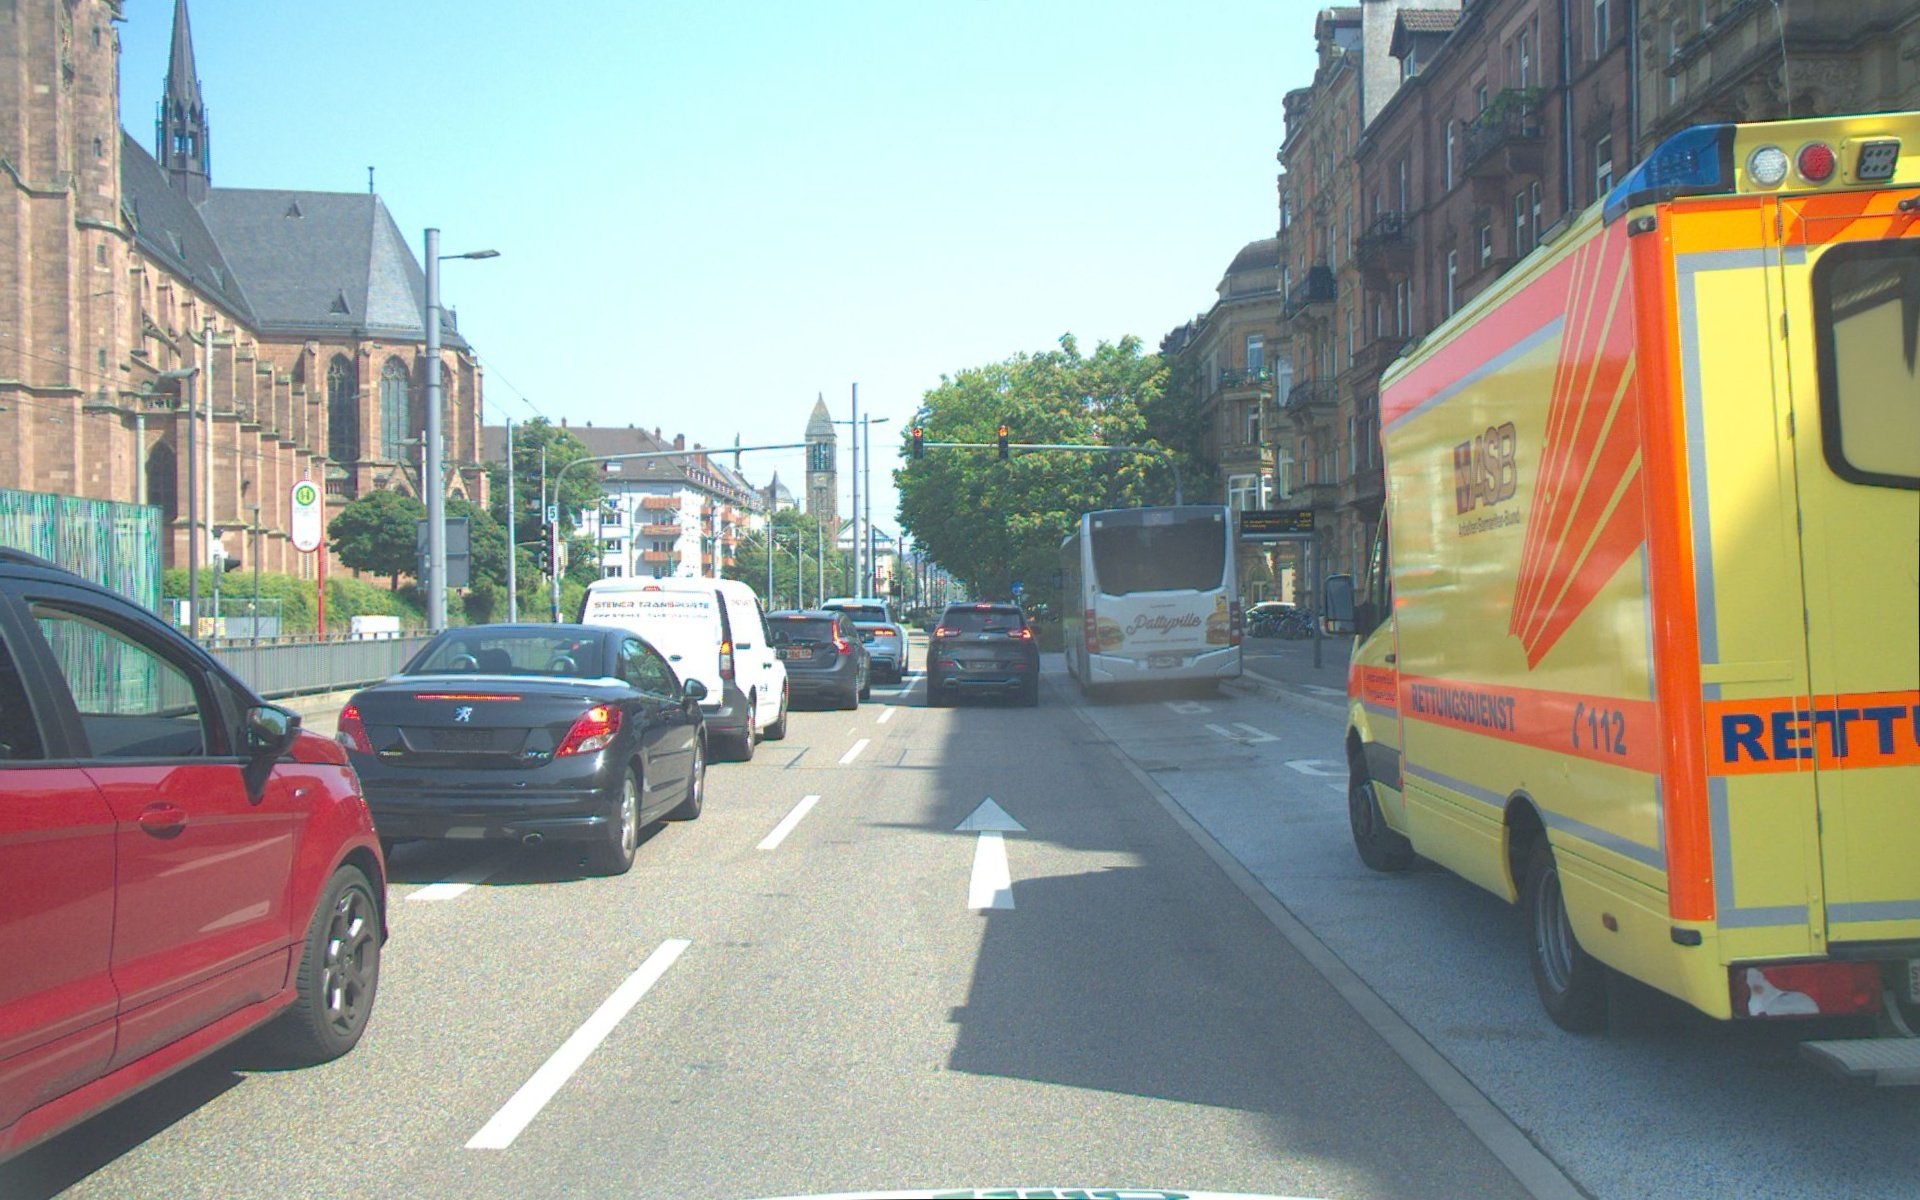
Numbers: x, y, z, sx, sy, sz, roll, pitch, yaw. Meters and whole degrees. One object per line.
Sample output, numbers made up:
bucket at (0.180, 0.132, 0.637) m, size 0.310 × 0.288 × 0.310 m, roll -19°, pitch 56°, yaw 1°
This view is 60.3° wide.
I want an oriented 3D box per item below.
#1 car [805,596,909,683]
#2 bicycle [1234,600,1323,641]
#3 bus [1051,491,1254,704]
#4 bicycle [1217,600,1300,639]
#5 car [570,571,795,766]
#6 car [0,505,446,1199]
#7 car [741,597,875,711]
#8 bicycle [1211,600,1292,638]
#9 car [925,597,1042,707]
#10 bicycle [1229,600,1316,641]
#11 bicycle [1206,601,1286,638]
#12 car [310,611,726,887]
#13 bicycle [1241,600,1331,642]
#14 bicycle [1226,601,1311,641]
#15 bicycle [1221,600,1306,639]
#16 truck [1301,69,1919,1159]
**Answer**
car at (-2.067, 0.756, 34.161) m, size 1.863 × 1.680 × 4.308 m, roll 0°, pitch 0°, yaw 0°
bicycle at (11.271, 0.726, 58.583) m, size 2.932 × 1.395 × 0.871 m, roll -1°, pitch 0°, yaw -1°
bus at (3.332, -0.005, 31.812) m, size 2.687 × 3.161 × 11.957 m, roll -3°, pitch 0°, yaw 2°
bicycle at (11.261, 0.732, 62.482) m, size 2.942 × 1.397 × 0.947 m, roll -1°, pitch 0°, yaw -1°
car at (-2.859, 0.663, 17.906) m, size 1.711 × 1.852 × 4.239 m, roll 0°, pitch 0°, yaw 0°
car at (-2.758, 0.627, 4.173) m, size 1.596 × 1.649 × 3.968 m, roll 0°, pitch 0°, yaw 1°
car at (-2.332, 0.791, 26.278) m, size 1.711 × 1.643 × 4.308 m, roll 0°, pitch 0°, yaw 0°
bicycle at (11.175, 0.725, 63.492) m, size 2.942 × 1.397 × 0.947 m, roll -1°, pitch 0°, yaw -1°
car at (0.406, 0.808, 27.767) m, size 1.795 × 1.680 × 4.309 m, roll 1°, pitch 0°, yaw 1°
bicycle at (11.231, 0.730, 59.496) m, size 2.932 × 1.395 × 0.871 m, roll -1°, pitch 0°, yaw -1°
bicycle at (11.182, 0.754, 64.809) m, size 2.942 × 1.397 × 0.947 m, roll -1°, pitch 0°, yaw -1°
car at (-2.598, 0.798, 10.627) m, size 1.654 × 1.438 × 3.801 m, roll 0°, pitch 0°, yaw 0°
bicycle at (11.365, 0.738, 57.677) m, size 2.932 × 1.395 × 0.871 m, roll -1°, pitch 0°, yaw -1°
bicycle at (11.253, 0.748, 60.443) m, size 2.932 × 1.395 × 0.871 m, roll -1°, pitch 0°, yaw -1°
bicycle at (11.251, 0.729, 61.387) m, size 2.942 × 1.397 × 0.947 m, roll -1°, pitch 0°, yaw -1°
truck at (3.225, 0.011, 7.450) m, size 2.279 × 2.818 × 6.340 m, roll -3°, pitch -1°, yaw 3°
